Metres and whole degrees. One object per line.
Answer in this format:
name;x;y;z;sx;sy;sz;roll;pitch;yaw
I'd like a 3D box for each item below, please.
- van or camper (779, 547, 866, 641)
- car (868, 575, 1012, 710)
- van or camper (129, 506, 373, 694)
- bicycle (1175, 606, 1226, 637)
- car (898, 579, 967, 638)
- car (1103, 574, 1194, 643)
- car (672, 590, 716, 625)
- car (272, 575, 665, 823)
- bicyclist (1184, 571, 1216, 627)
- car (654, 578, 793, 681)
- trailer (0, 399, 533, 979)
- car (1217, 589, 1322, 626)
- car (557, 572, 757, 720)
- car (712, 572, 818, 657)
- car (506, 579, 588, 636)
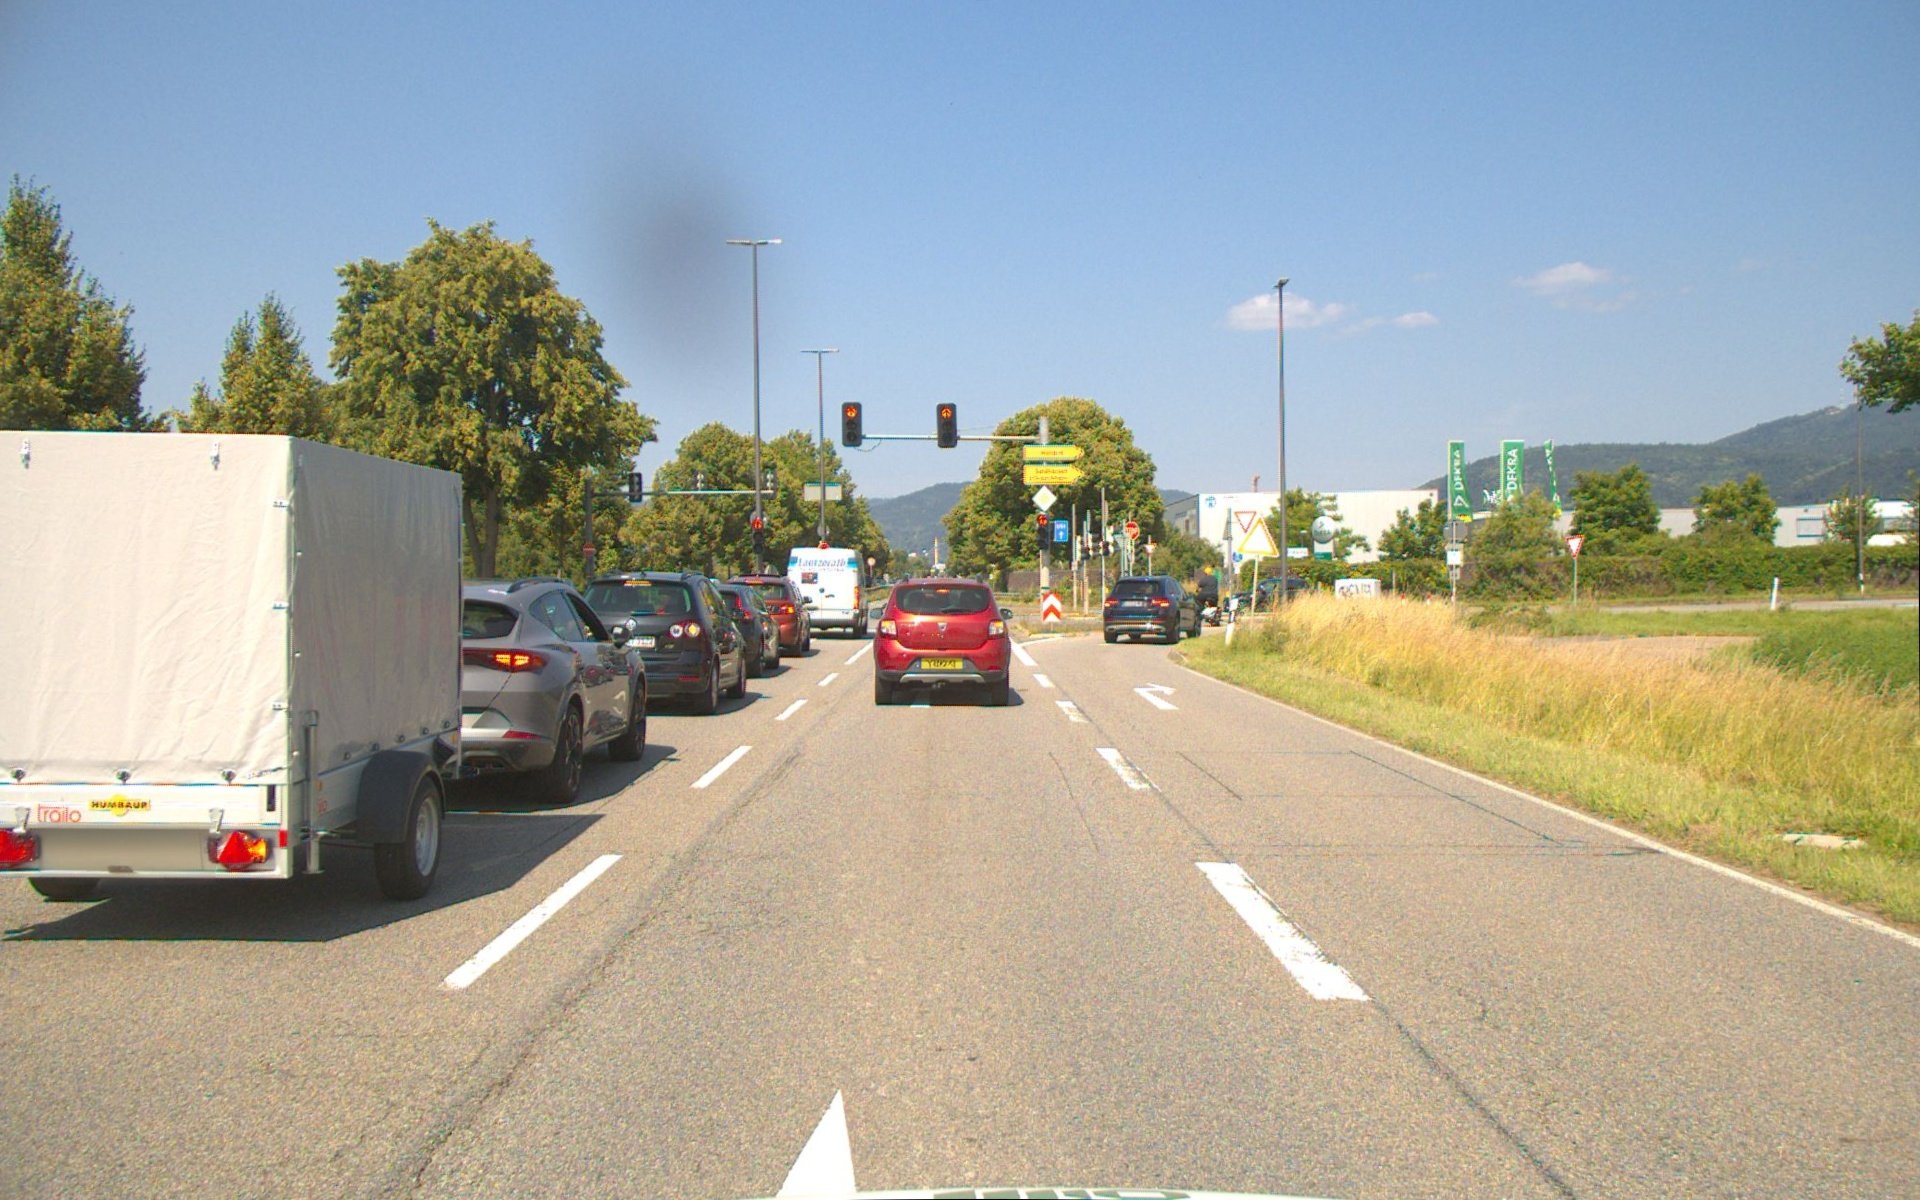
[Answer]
van or camper;-3.603;-0.184;44.238;2.135;2.343;4.824;1;1;-3
car;-0.207;0.485;21.663;1.713;1.603;3.677;0;1;1
van or camper;-13.054;-0.050;30.938;2.217;3.153;5.693;-1;1;-2
bicycle;7.864;0.691;54.224;0.748;0.931;2.771;-1;1;-12
car;-0.691;0.197;44.250;1.713;1.483;3.677;0;1;1
car;4.846;0.191;42.060;1.951;1.645;4.343;0;1;11
car;-15.844;0.425;98.683;1.953;1.964;5.014;-1;1;-2
car;-3.432;0.590;12.427;1.710;1.529;4.362;0;1;-1
bicyclist;7.855;-0.030;54.174;0.788;1.802;0.806;-1;1;-11
car;-3.767;0.418;26.909;1.667;1.467;3.956;1;1;0
trailer;-3.415;0.318;8.397;1.470;2.211;4.173;0;0;-1
car;12.052;0.278;64.591;3.902;1.350;1.808;-1;1;6
car;-3.530;0.481;19.935;1.688;1.603;3.892;0;1;0
car;-3.912;0.252;33.757;1.689;1.628;3.955;0;1;0
car;-14.379;0.226;57.814;1.820;1.888;4.695;-1;1;-2
